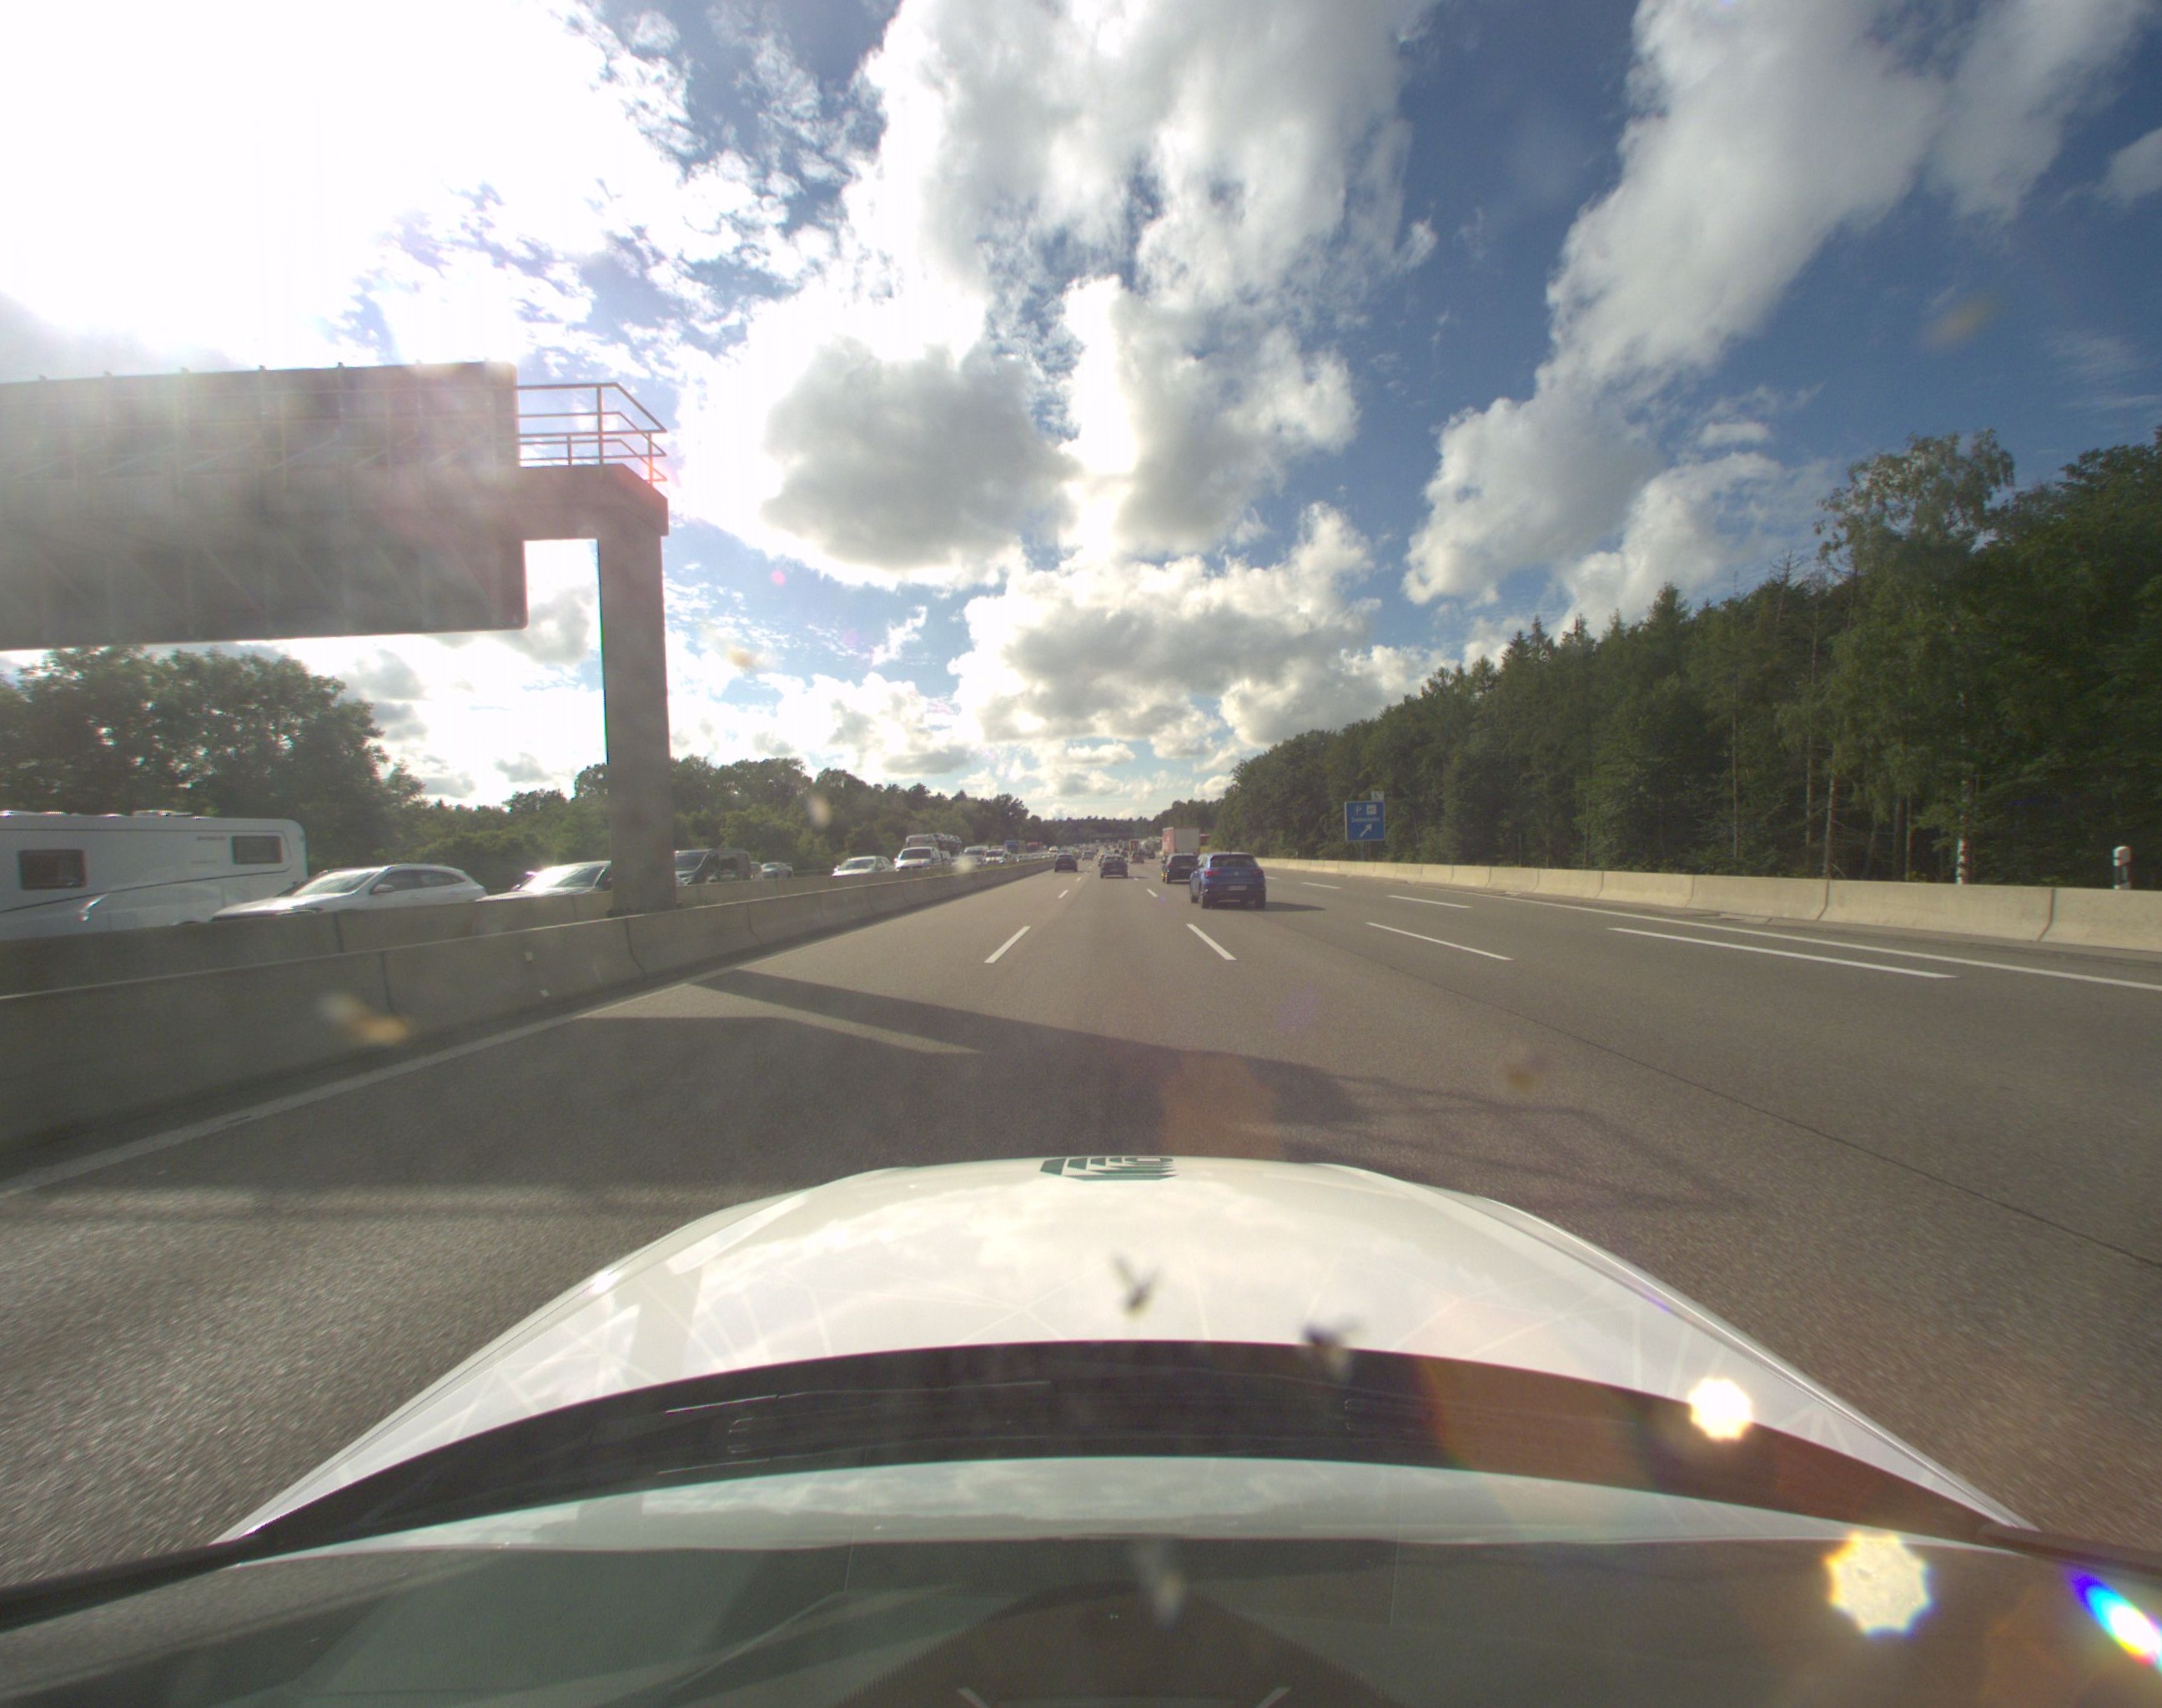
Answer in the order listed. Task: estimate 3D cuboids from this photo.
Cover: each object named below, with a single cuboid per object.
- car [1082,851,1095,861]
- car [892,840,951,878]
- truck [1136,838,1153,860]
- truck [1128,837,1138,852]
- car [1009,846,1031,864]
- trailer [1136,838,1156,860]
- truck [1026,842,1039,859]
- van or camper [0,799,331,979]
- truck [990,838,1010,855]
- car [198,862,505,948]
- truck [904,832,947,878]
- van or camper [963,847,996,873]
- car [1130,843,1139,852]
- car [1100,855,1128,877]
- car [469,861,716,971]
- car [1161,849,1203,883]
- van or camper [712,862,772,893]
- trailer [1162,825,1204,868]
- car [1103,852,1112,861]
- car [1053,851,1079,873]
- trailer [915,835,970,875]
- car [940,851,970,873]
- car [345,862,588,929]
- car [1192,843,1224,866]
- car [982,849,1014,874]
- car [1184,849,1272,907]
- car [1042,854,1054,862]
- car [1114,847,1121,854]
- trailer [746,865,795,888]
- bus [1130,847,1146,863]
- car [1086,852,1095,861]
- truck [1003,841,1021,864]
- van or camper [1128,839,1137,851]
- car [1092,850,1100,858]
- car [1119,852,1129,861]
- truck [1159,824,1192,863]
[{"bbox_3d":[1.360,0.344,145.844,2.146,1.776,4.002,0,0,2],"label":"car"},{"bbox_3d":[-8.099,0.250,41.709,2.079,1.801,4.180,-1,0,2],"label":"car"},{"bbox_3d":[12.504,-0.952,160.769,3.034,4.160,7.129,-1,0,2],"label":"truck"},{"bbox_3d":[13.716,-2.539,215.379,2.348,3.572,11.274,-1,-1,3],"label":"truck"},{"bbox_3d":[-7.027,0.172,94.187,1.986,2.014,4.411,-2,-1,2],"label":"car"},{"bbox_3d":[12.371,-0.910,155.217,3.025,4.016,12.247,-1,0,1],"label":"trailer"},{"bbox_3d":[-11.656,-0.851,196.784,2.766,3.938,6.854,0,0,1],"label":"truck"},{"bbox_3d":[-16.979,0.545,13.337,2.316,2.643,7.400,-1,-1,2],"label":"van or camper"},{"bbox_3d":[-13.383,-1.266,135.803,2.320,2.801,7.951,1,0,1],"label":"truck"},{"bbox_3d":[-13.197,0.828,15.206,1.557,1.324,4.538,0,0,2],"label":"car"},{"bbox_3d":[-14.883,0.075,78.229,2.842,4.234,5.715,0,0,2],"label":"truck"},{"bbox_3d":[-10.812,0.664,87.114,2.382,2.711,6.634,-1,-1,2],"label":"van or camper"},{"bbox_3d":[12.473,-1.483,189.084,1.986,2.014,4.001,-1,-1,1],"label":"car"},{"bbox_3d":[2.057,0.766,52.208,1.728,1.365,4.001,0,0,1],"label":"car"},{"bbox_3d":[-9.268,1.056,16.071,1.760,1.798,4.940,0,0,2],"label":"car"},{"bbox_3d":[5.109,0.587,41.570,1.792,1.644,4.002,0,0,2],"label":"car"},{"bbox_3d":[-23.283,1.562,56.107,1.852,2.033,5.077,-1,-1,2],"label":"van or camper"},{"bbox_3d":[10.358,-0.623,84.128,3.027,4.035,13.894,-1,-1,2],"label":"trailer"},{"bbox_3d":[6.188,0.520,187.580,1.986,2.014,4.001,-2,-1,1],"label":"car"},{"bbox_3d":[-1.227,0.646,69.621,1.986,1.776,4.002,-1,0,2],"label":"car"},{"bbox_3d":[-14.653,0.233,87.896,2.820,3.975,16.009,0,-1,2],"label":"trailer"},{"bbox_3d":[-11.481,0.719,74.435,1.904,1.875,4.699,-1,0,2],"label":"car"},{"bbox_3d":[-13.232,0.824,17.980,1.825,1.230,4.567,-1,0,1],"label":"car"},{"bbox_3d":[8.753,0.040,56.409,1.708,1.511,4.304,-2,0,2],"label":"car"},{"bbox_3d":[-7.188,0.683,70.959,1.986,2.100,5.280,-1,-1,2],"label":"car"},{"bbox_3d":[4.202,0.678,24.015,1.917,1.541,4.647,-1,-1,2],"label":"car"},{"bbox_3d":[-5.396,0.636,132.356,1.751,1.377,4.000,-1,0,1],"label":"car"},{"bbox_3d":[11.113,-1.057,247.396,1.986,2.013,4.001,0,0,1],"label":"car"},{"bbox_3d":[-23.132,1.657,60.830,1.819,1.579,4.351,-1,-1,2],"label":"trailer"},{"bbox_3d":[7.421,0.196,106.504,1.986,2.014,4.002,-1,-1,2],"label":"bus"},{"bbox_3d":[2.170,0.503,181.273,1.986,2.013,4.001,-1,0,1],"label":"car"},{"bbox_3d":[-12.790,-0.266,150.488,2.726,4.148,5.617,-1,-1,1],"label":"truck"},{"bbox_3d":[14.095,-2.548,222.424,2.342,3.144,5.714,-1,-1,3],"label":"van or camper"},{"bbox_3d":[4.083,-0.067,219.703,1.986,2.013,4.001,0,0,1],"label":"car"},{"bbox_3d":[9.107,0.493,173.043,1.986,2.014,4.001,0,0,1],"label":"car"},{"bbox_3d":[10.529,-1.109,90.988,3.069,4.063,6.071,-1,-1,1],"label":"truck"}]
